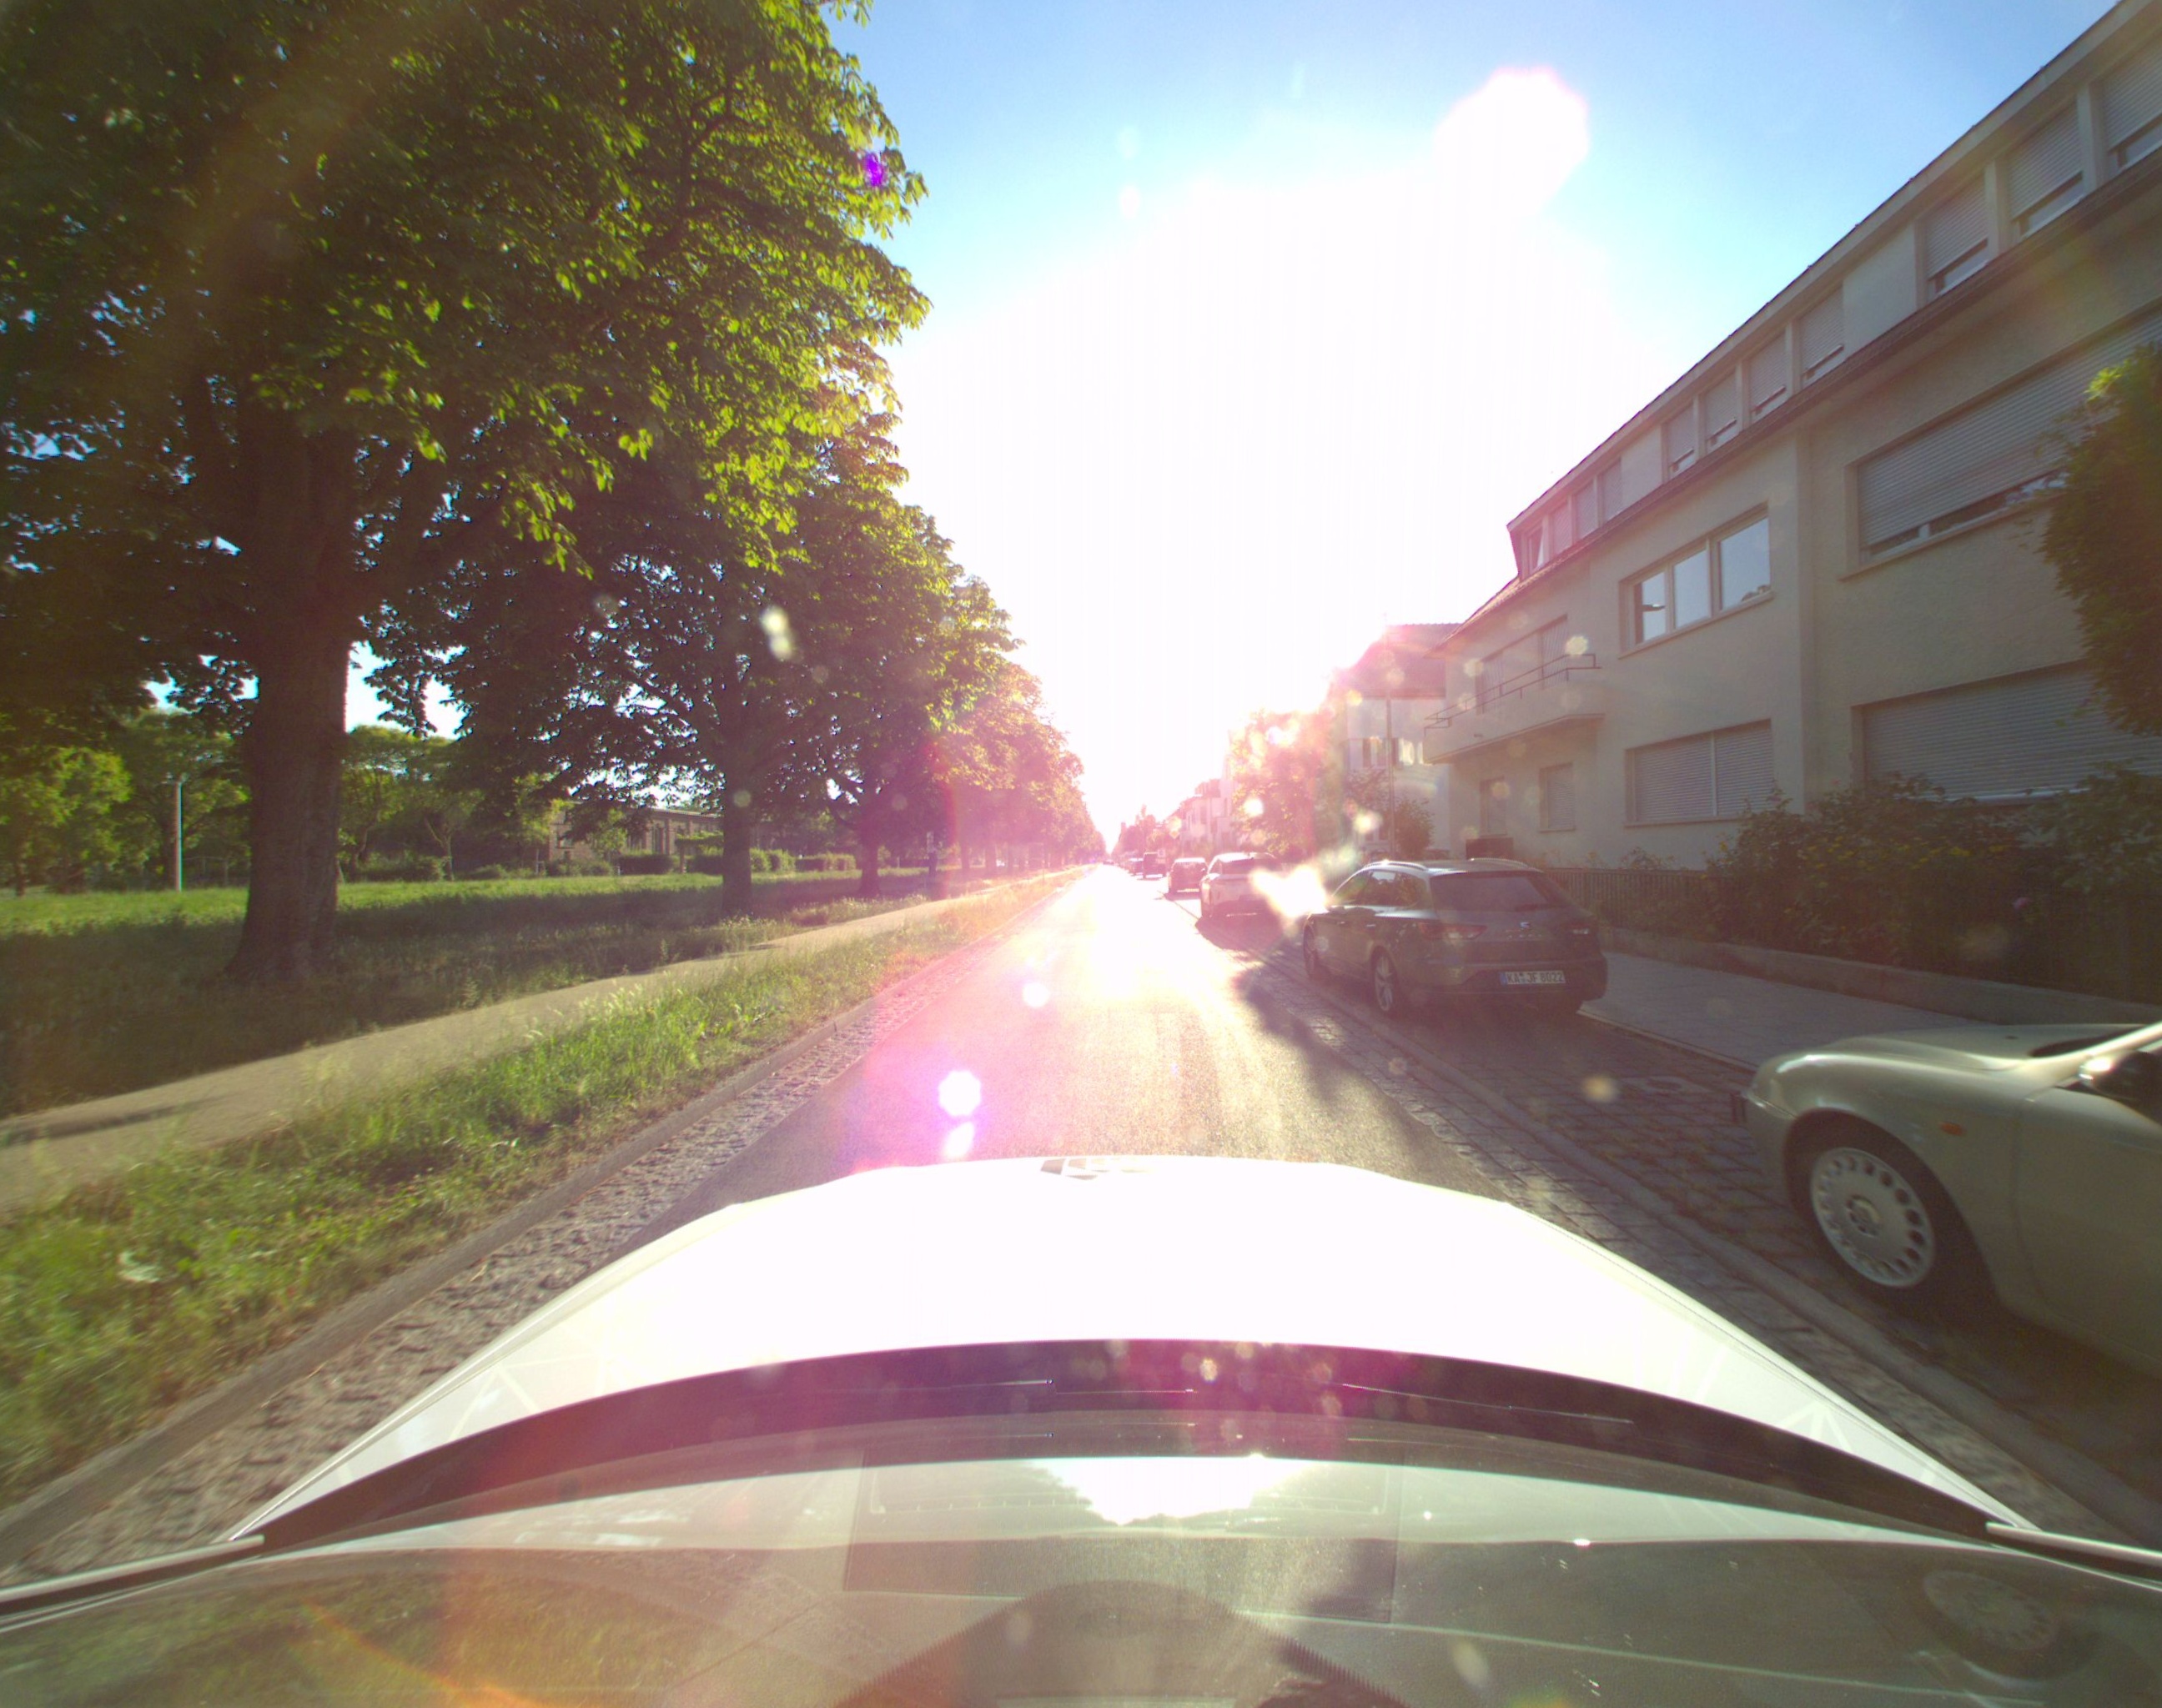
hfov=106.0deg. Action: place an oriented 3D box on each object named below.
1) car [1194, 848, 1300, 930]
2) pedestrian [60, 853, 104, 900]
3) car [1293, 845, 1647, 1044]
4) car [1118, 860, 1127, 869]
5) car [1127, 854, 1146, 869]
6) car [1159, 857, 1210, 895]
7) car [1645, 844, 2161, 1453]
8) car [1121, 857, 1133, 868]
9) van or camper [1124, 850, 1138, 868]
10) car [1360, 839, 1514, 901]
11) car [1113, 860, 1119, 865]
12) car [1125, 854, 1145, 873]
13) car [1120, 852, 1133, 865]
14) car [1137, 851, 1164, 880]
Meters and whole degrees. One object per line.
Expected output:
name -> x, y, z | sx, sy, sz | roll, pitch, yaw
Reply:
car -> 3.975, 0.750, 20.293 | 1.897, 1.708, 4.579 | -3, 0, 4
pedestrian -> -37.780, 0.840, 30.809 | 0.779, 1.724, 0.710 | 1, -1, -26
car -> 3.648, 0.735, 8.610 | 1.787, 1.494, 4.196 | -3, 0, 2
car -> 7.748, 1.873, 151.397 | 1.643, 1.530, 3.854 | -2, 0, 3
car -> 6.348, 0.910, 93.805 | 1.713, 1.574, 4.207 | -3, -1, -1
car -> 4.428, 0.912, 35.364 | 1.787, 1.482, 4.125 | -3, 0, 2
car -> 3.433, 0.695, 1.653 | 1.787, 1.380, 4.080 | -3, 0, 2
car -> 6.835, 1.236, 120.611 | 1.657, 1.593, 4.088 | 0, -1, 2
van or camper -> 7.771, 0.845, 127.104 | 1.936, 2.778, 5.942 | 0, -1, 2
car -> 10.935, 0.472, 25.187 | 3.975, 1.845, 1.813 | 0, 1, -4
car -> 10.423, 2.640, 245.158 | 1.643, 1.530, 3.854 | 2, 0, 3
car -> 5.369, 0.974, 81.902 | 1.787, 1.771, 4.474 | -3, 0, 2
car -> 8.851, 0.889, 157.416 | 2.119, 2.533, 5.188 | -2, 0, 0
car -> 5.501, 0.900, 65.352 | 1.898, 2.132, 4.818 | -3, 0, 3
